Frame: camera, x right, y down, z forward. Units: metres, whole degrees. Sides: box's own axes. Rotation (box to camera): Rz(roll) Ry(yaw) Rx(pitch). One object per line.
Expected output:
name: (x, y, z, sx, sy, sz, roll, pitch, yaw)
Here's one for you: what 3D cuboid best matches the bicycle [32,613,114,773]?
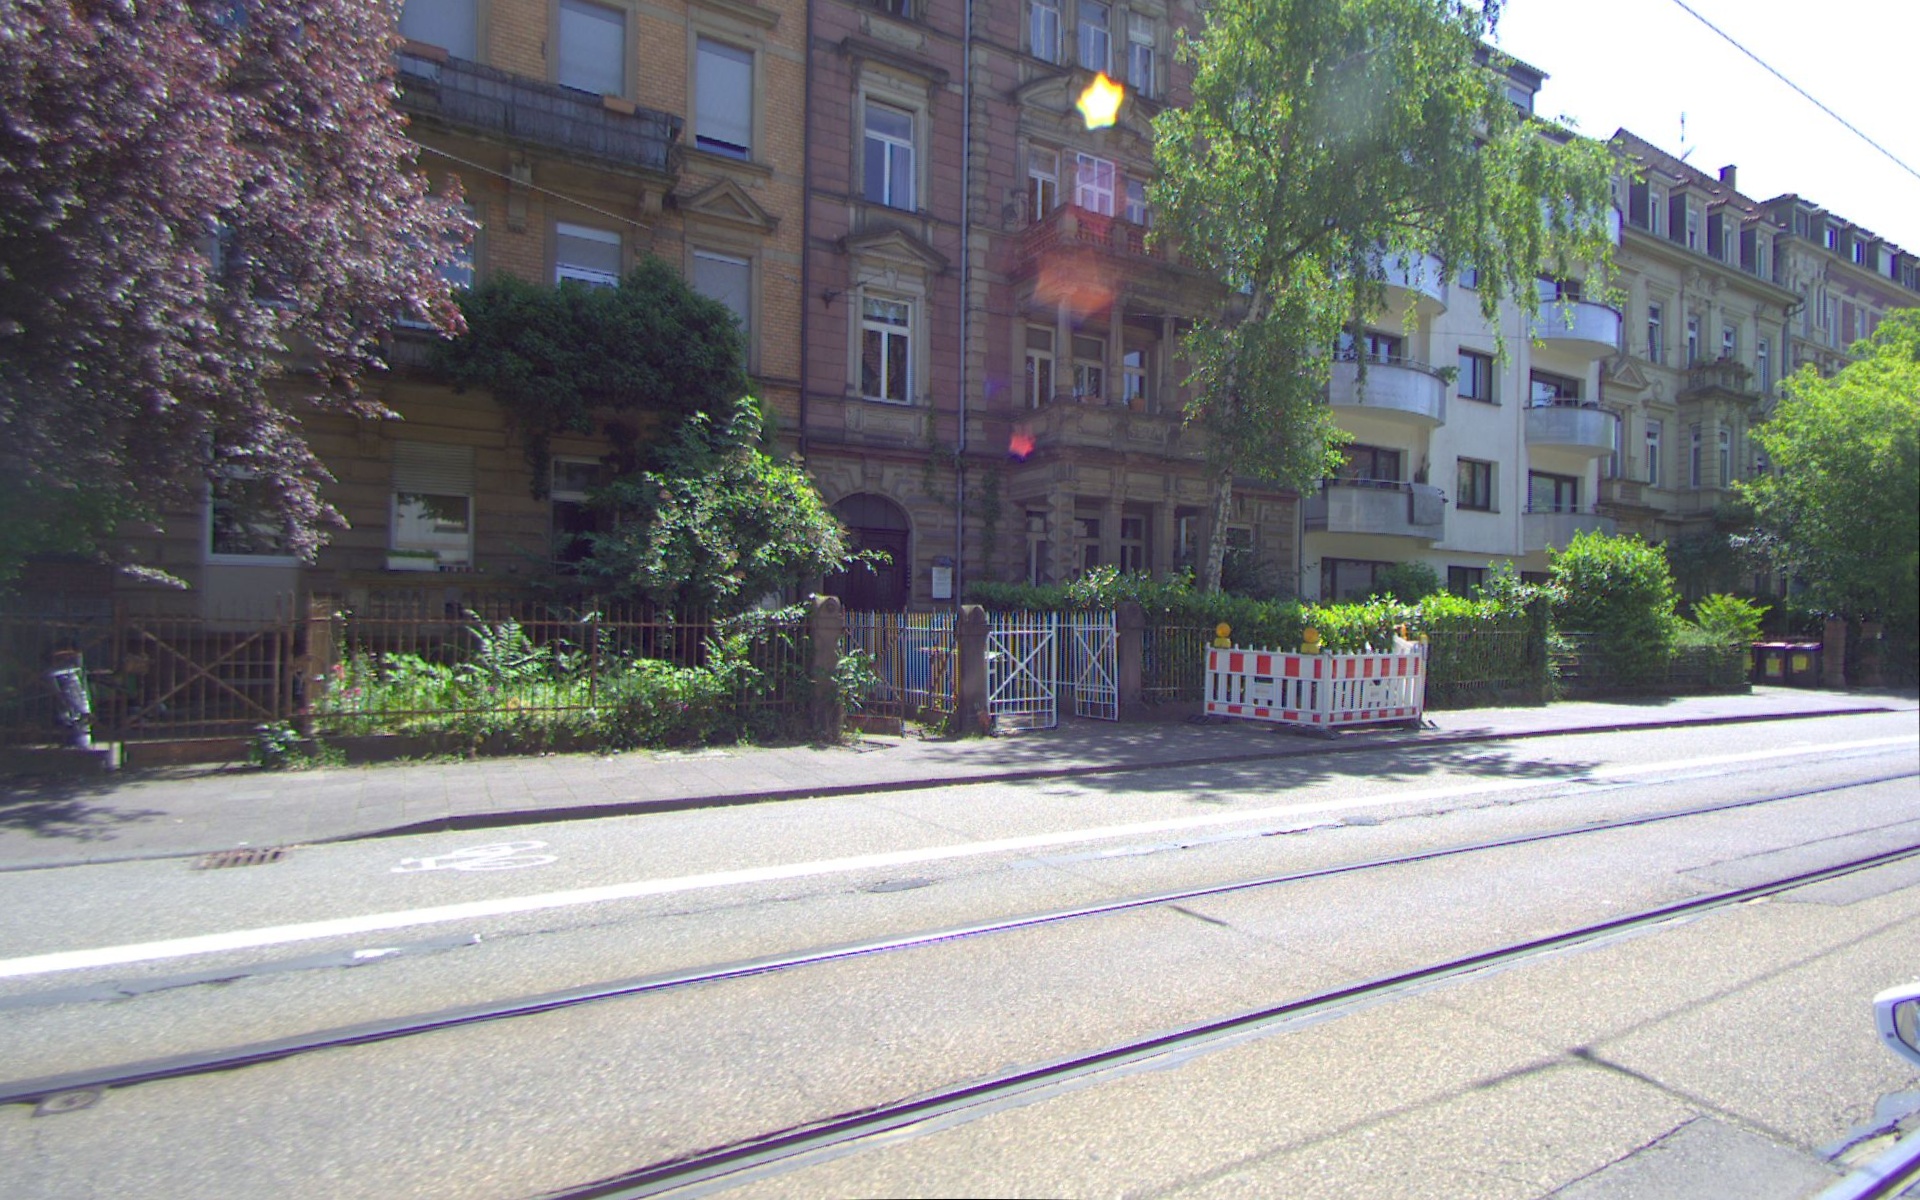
bicycle: (-7.926, 0.772, 8.969, 0.506, 1.203, 1.594, 0, 3, -42)
